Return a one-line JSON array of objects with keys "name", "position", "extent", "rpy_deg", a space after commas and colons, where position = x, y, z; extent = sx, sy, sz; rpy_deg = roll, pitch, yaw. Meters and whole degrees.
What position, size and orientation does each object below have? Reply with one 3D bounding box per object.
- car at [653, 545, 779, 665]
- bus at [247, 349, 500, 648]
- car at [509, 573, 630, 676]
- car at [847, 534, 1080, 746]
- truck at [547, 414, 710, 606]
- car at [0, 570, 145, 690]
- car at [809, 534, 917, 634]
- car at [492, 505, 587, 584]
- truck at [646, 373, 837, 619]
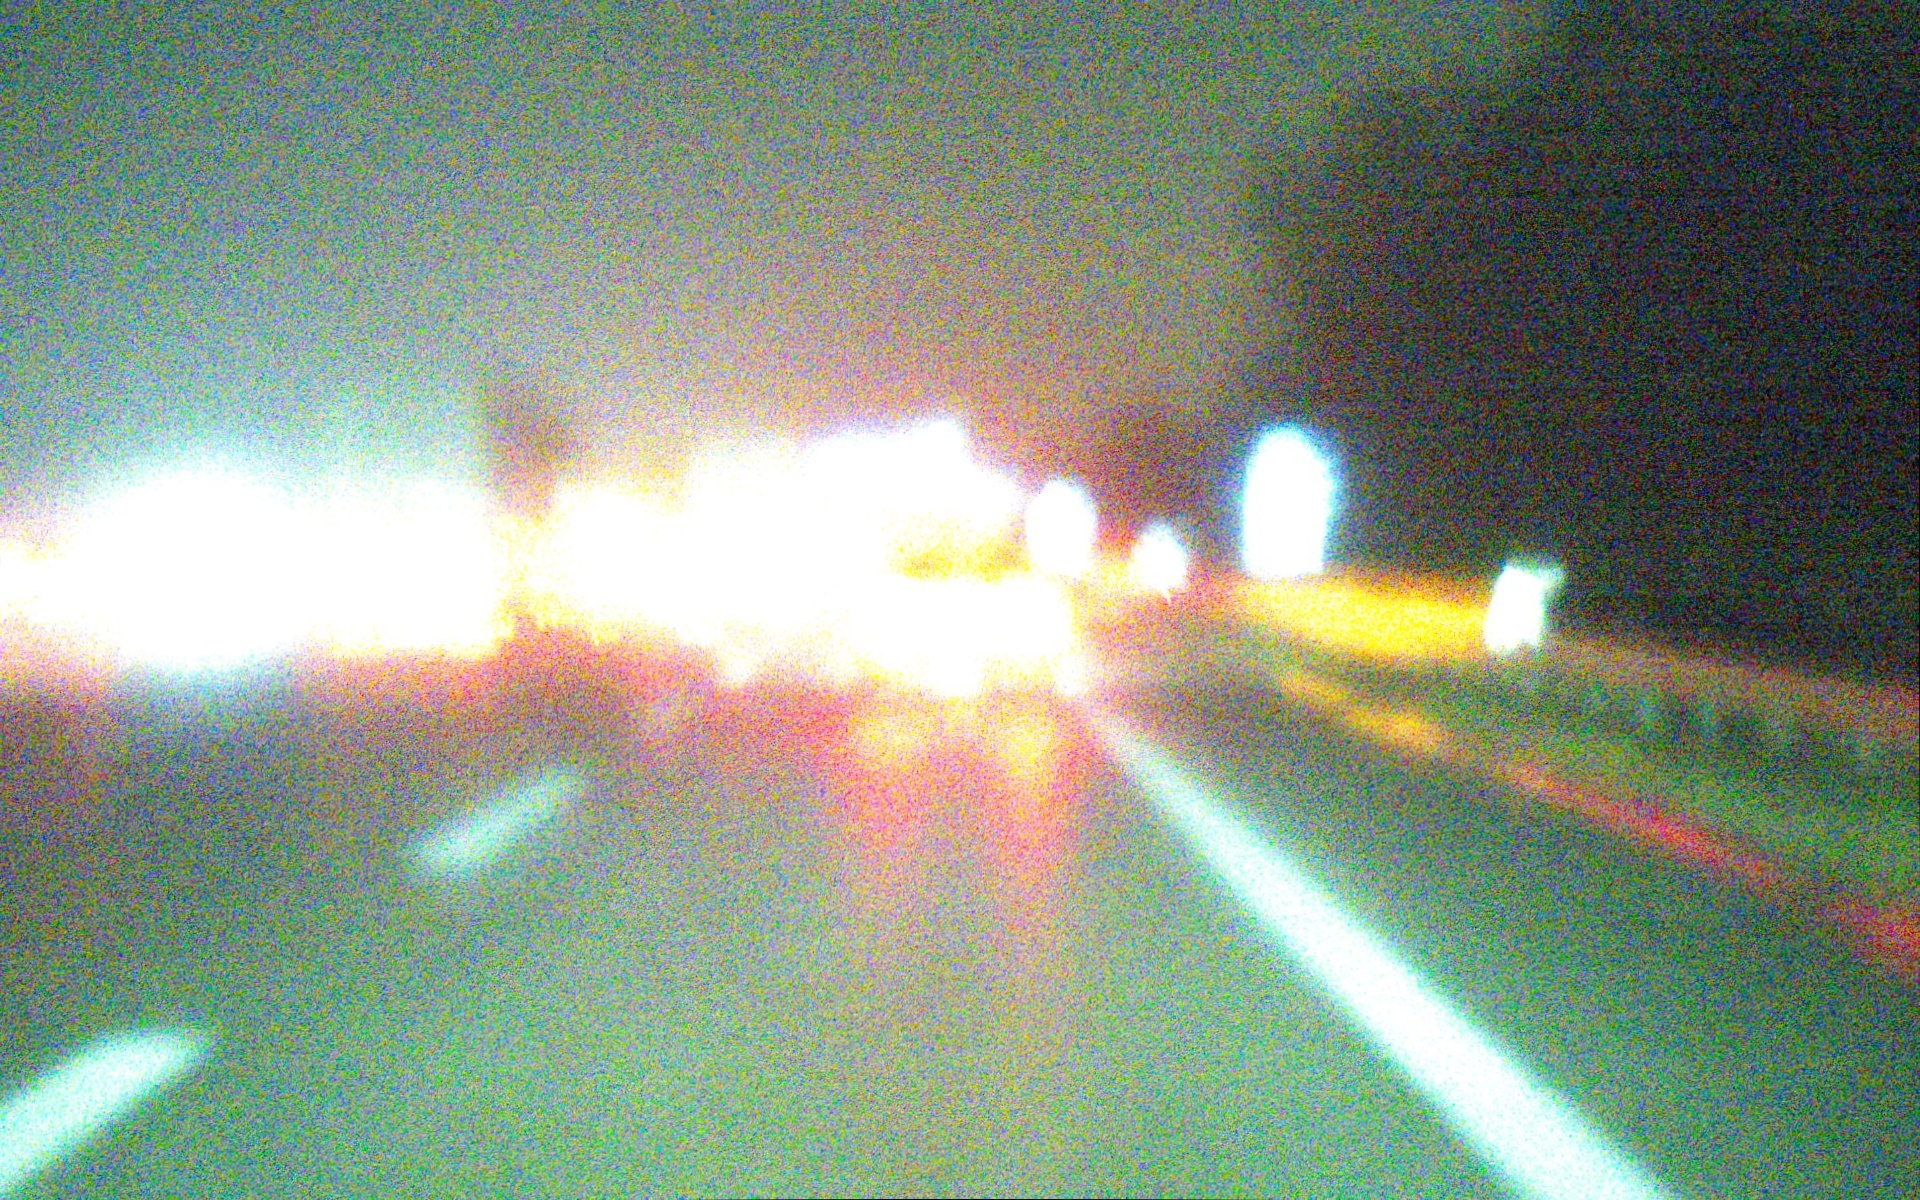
[{"name": "car", "position": [-4.296, 0.067, 61.076], "extent": [2.125, 2.007, 4.646], "rpy_deg": [1, 0, -3]}, {"name": "bus", "position": [-9.653, -1.586, 57.762], "extent": [3.096, 4.492, 10.915], "rpy_deg": [1, 0, -4]}, {"name": "car", "position": [-7.154, 0.424, 63.300], "extent": [1.993, 1.801, 4.001], "rpy_deg": [1, 0, -4]}, {"name": "car", "position": [0.000, 0.330, 31.763], "extent": [1.993, 1.801, 4.000], "rpy_deg": [1, 0, -1]}, {"name": "truck", "position": [-10.283, -2.722, 108.025], "extent": [4.210, 5.629, 11.468], "rpy_deg": [1, 0, -1]}, {"name": "car", "position": [-12.994, 0.401, 49.883], "extent": [1.694, 1.645, 3.841], "rpy_deg": [1, 0, -5]}, {"name": "car", "position": [-2.085, -0.338, 72.364], "extent": [2.125, 2.007, 4.646], "rpy_deg": [1, 0, -3]}, {"name": "car", "position": [-9.938, -1.295, 81.448], "extent": [1.993, 1.801, 4.001], "rpy_deg": [1, 0, -4]}, {"name": "truck", "position": [-5.272, -2.462, 85.452], "extent": [4.210, 5.629, 11.468], "rpy_deg": [1, 0, -1]}]
